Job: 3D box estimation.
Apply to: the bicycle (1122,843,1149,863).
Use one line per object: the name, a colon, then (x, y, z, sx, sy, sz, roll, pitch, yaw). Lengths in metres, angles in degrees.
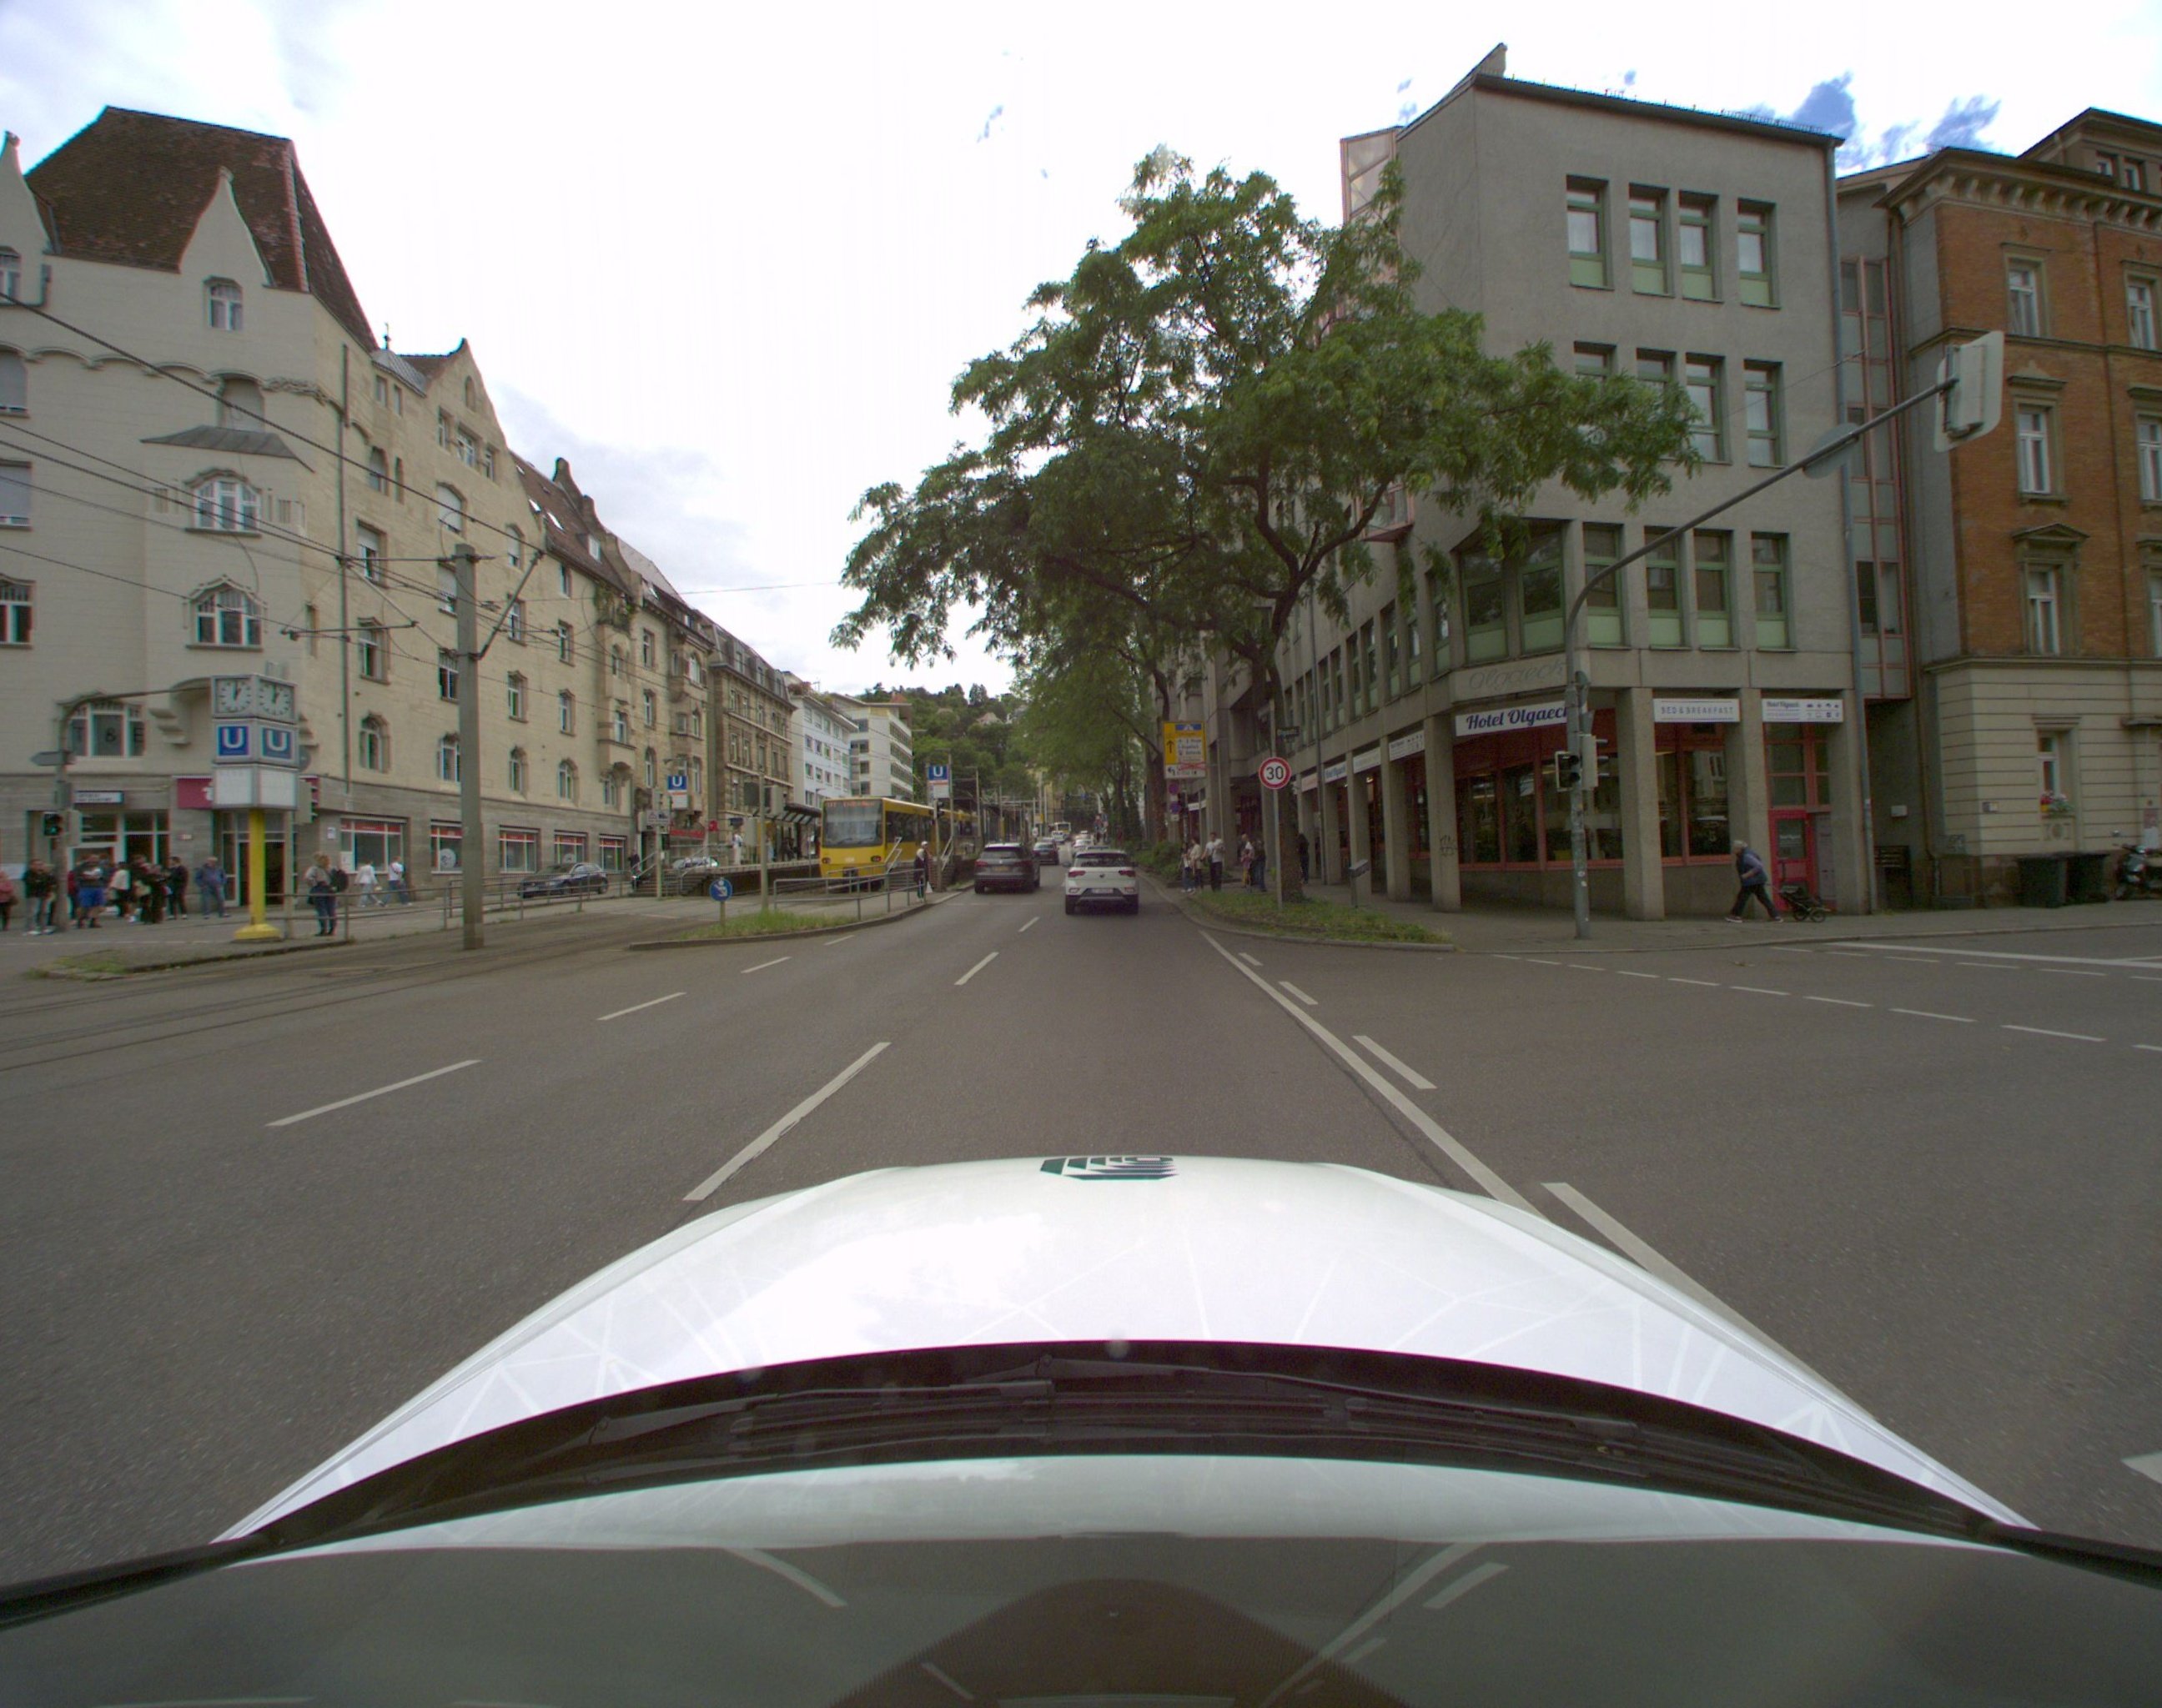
bicycle: (3.371, -0.079, 50.684, 1.613, 1.128, 0.614, -4, 1, 3)

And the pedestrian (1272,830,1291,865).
pedestrian: (10.081, -0.328, 40.953, 0.759, 1.723, 0.677, 0, -2, 2)

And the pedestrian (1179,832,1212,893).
pedestrian: (3.475, 0.245, 24.790, 0.692, 1.777, 0.688, -6, 0, -5)

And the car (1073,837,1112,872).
car: (0.546, 0.036, 41.417, 1.879, 1.684, 4.160, -1, 0, -1)

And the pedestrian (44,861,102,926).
pedestrian: (-28.459, 1.109, 23.011, 0.571, 1.780, 0.822, -1, 0, 9)

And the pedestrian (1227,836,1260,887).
pedestrian: (5.056, 0.232, 25.421, 0.834, 1.563, 0.763, 0, 0, -5)

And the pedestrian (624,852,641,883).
pedestrian: (-25.233, 0.757, 45.783, 0.632, 1.762, 0.836, -1, 0, -43)

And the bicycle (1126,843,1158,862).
bicycle: (3.912, -0.092, 51.912, 1.912, 1.076, 0.612, -4, 1, -4)

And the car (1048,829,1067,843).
car: (-3.490, -2.628, 121.401, 2.355, 2.013, 5.152, -1, 0, 3)

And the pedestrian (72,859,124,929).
pedestrian: (-25.473, 1.037, 21.116, 0.704, 1.780, 0.598, -1, 0, 15)

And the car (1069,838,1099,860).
car: (0.165, -0.377, 64.503, 1.883, 1.684, 4.151, 0, 0, -7)

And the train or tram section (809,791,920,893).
train or tram section: (-8.502, -0.480, 32.692, 2.826, 3.678, 5.752, 0, 1, 0)

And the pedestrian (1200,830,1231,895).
pedestrian: (3.977, 0.236, 24.102, 0.732, 1.874, 0.732, -1, 0, -5)

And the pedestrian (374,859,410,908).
pedestrian: (-24.191, 1.023, 28.593, 0.600, 1.705, 0.711, -1, 0, 5)

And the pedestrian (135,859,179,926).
pedestrian: (-24.904, 1.035, 21.947, 0.506, 1.780, 0.579, -1, 0, 14)

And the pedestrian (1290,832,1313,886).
pedestrian: (6.834, 0.141, 25.279, 0.611, 1.612, 0.768, -2, 3, 15)

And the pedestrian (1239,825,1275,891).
pedestrian: (5.083, 0.098, 23.591, 0.720, 1.802, 0.833, -4, 3, -5)

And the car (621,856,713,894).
car: (-18.014, 0.863, 35.632, 1.901, 1.574, 4.001, -1, 0, 1)

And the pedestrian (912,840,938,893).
pedestrian: (-5.117, 0.394, 26.746, 0.683, 1.711, 0.711, -1, 1, -1)

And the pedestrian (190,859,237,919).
pedestrian: (-25.052, 1.006, 23.523, 0.668, 1.677, 0.694, -1, 0, 17)

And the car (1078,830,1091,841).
car: (0.557, -3.072, 134.888, 1.882, 1.684, 4.154, 0, 0, -5)

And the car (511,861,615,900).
car: (-21.276, 1.055, 33.631, 1.624, 1.375, 3.787, -3, 0, 4)

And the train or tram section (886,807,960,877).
train or tram section: (-8.442, -0.638, 44.213, 2.826, 3.520, 5.752, 0, 1, 0)

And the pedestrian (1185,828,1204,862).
pedestrian: (6.037, -0.485, 43.446, 0.761, 1.782, 0.846, -3, 3, -6)

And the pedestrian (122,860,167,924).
pedestrian: (-26.452, 1.060, 23.008, 0.780, 1.780, 0.672, -1, 0, 30)

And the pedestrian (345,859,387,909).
pedestrian: (-25.057, 1.038, 28.543, 0.778, 1.705, 0.724, -1, 0, 5)

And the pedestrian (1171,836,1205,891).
pedestrian: (3.409, 0.292, 25.920, 0.834, 1.704, 0.763, -3, 1, -5)

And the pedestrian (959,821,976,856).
pedestrian: (-5.735, -0.781, 41.189, 0.715, 1.731, 0.671, -1, 0, 1)

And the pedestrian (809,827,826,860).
pedestrian: (-14.548, -0.571, 44.969, 0.624, 1.762, 0.847, -1, 0, 1)

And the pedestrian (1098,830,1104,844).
pedestrian: (2.835, -2.409, 115.688, 0.758, 2.014, 0.839, -1, 0, 5)

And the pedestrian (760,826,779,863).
pedestrian: (-14.809, -0.461, 38.748, 0.635, 1.711, 0.688, -2, 1, -9)

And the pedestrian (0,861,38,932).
pedestrian: (-27.124, 1.079, 20.696, 0.572, 1.780, 0.512, -1, 0, 4)

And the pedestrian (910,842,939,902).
pedestrian: (-4.561, 0.507, 23.734, 0.633, 1.711, 0.871, -1, 1, -1)

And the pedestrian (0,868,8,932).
pedestrian: (-27.184, 1.158, 20.144, 0.573, 1.582, 0.512, -1, 0, 2)

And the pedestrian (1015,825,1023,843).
pedestrian: (-7.062, -2.269, 92.766, 0.761, 2.014, 0.836, 0, 0, -8)

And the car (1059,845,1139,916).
car: (0.553, 0.585, 20.892, 1.829, 1.583, 4.162, 0, 2, 4)

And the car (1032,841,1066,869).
car: (-2.023, 0.005, 52.725, 1.905, 1.689, 4.002, 0, 2, 2)

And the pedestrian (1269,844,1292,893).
pedestrian: (5.538, 0.406, 22.654, 0.470, 1.333, 0.519, 0, 0, -5)

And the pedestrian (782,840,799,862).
pedestrian: (-14.960, -0.151, 41.961, 0.633, 1.107, 0.690, -1, 1, -1)

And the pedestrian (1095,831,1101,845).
pedestrian: (2.541, -2.403, 123.063, 0.758, 2.014, 0.839, -1, 0, 5)

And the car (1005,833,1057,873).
car: (-2.671, -0.055, 44.438, 2.356, 2.013, 5.150, -1, 0, 2)

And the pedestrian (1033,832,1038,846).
pedestrian: (-6.953, -2.294, 123.794, 0.759, 2.014, 0.838, -1, 0, 0)

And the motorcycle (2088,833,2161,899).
motorcycle: (22.426, 0.225, 17.162, 2.666, 1.297, 1.141, -2, 0, -31)

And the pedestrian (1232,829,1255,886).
pedestrian: (5.167, 0.113, 25.989, 0.517, 1.789, 0.763, 0, 0, -4)

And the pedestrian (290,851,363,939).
pedestrian: (-15.222, 0.808, 16.433, 0.866, 1.705, 0.817, -1, 0, 29)

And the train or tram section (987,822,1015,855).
train or tram section: (-9.321, -1.816, 95.548, 2.805, 3.666, 6.748, -1, 1, -1)

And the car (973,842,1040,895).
car: (-2.484, 0.437, 28.052, 1.988, 1.635, 3.999, -1, 1, -1)

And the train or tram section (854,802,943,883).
train or tram section: (-8.475, -0.537, 38.459, 2.826, 3.520, 5.752, 0, 1, 0)

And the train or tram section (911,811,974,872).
train or tram section: (-8.385, -0.753, 49.996, 2.826, 3.520, 5.752, 0, 1, 0)

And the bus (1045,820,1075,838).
bus: (-4.147, -4.648, 153.551, 3.374, 3.064, 13.270, 0, 0, -12)

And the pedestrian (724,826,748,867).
pedestrian: (-14.718, -0.309, 34.712, 0.686, 1.711, 0.661, -1, 1, -1)

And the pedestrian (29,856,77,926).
pedestrian: (-27.024, 0.962, 21.412, 0.507, 1.780, 0.578, -1, 0, 6)

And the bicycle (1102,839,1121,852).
bicycle: (3.074, -0.894, 82.646, 1.869, 1.266, 0.766, -1, 0, 10)

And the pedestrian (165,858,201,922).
pedestrian: (-25.819, 1.023, 23.415, 0.505, 1.780, 0.580, -2, 0, 30)

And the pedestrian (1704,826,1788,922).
pedestrian: (12.363, 0.358, 15.179, 1.111, 1.712, 0.861, -1, 0, 34)

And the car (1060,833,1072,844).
car: (-2.388, -2.528, 133.967, 1.879, 1.684, 4.161, -1, 0, 0)

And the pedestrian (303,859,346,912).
pedestrian: (-24.971, 1.030, 26.893, 0.778, 1.705, 0.654, -1, 0, 5)

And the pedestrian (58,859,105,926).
pedestrian: (-27.026, 1.032, 22.024, 0.508, 1.780, 0.577, -1, 0, 2)

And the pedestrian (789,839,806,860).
pedestrian: (-15.125, -0.226, 43.477, 0.633, 1.107, 0.690, -1, 1, -1)
